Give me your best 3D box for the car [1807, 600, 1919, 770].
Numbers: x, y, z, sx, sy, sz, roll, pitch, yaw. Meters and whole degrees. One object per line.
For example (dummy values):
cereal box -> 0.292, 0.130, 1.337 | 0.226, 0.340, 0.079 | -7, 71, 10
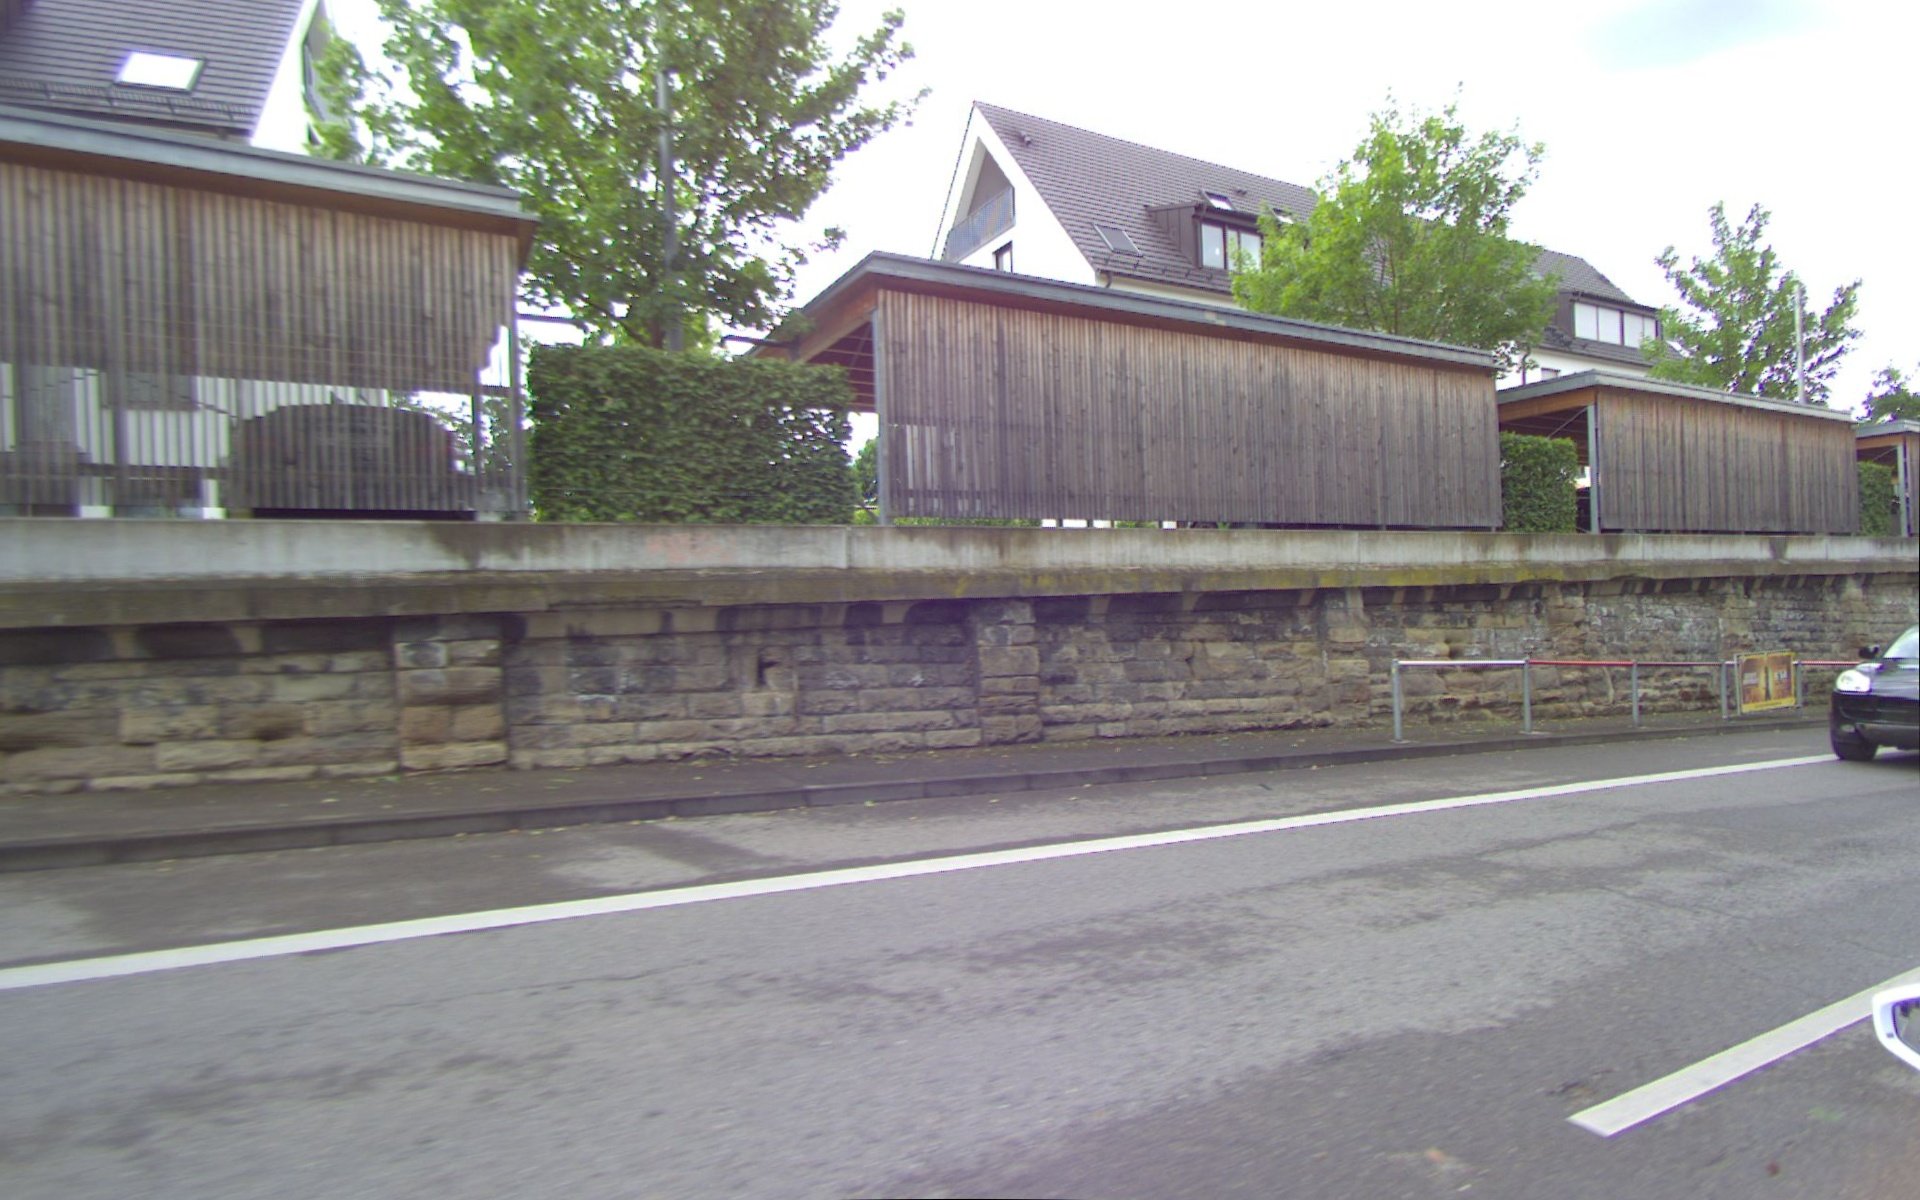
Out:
car -> 11.981, 0.944, 11.687 | 4.385, 1.779, 1.885 | 2, -2, -30
